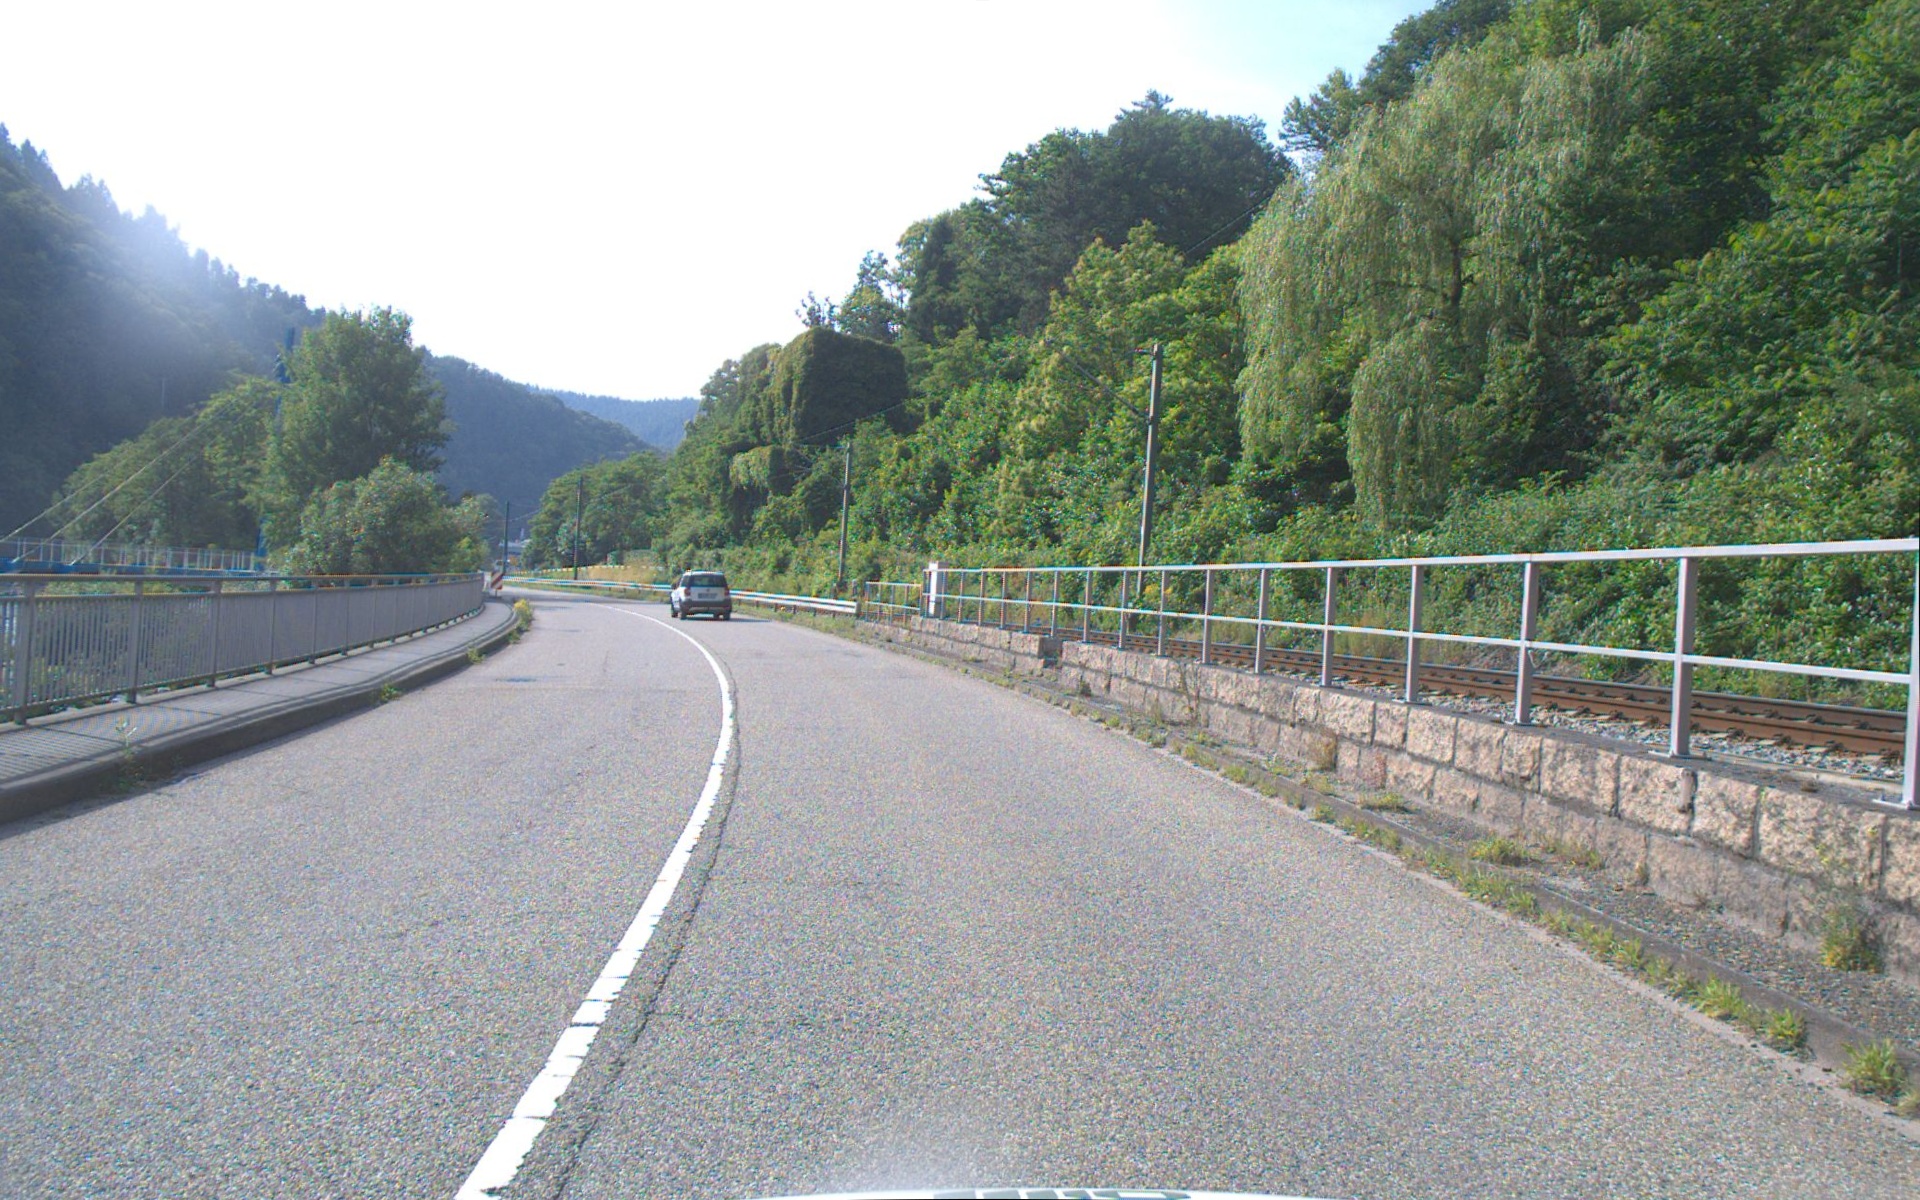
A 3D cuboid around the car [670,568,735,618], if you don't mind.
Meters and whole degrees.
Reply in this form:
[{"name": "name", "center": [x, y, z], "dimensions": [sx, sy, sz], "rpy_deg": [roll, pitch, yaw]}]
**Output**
[{"name": "car", "center": [-9.085, -0.252, 58.143], "dimensions": [1.841, 1.684, 3.985], "rpy_deg": [1, 0, -15]}]
